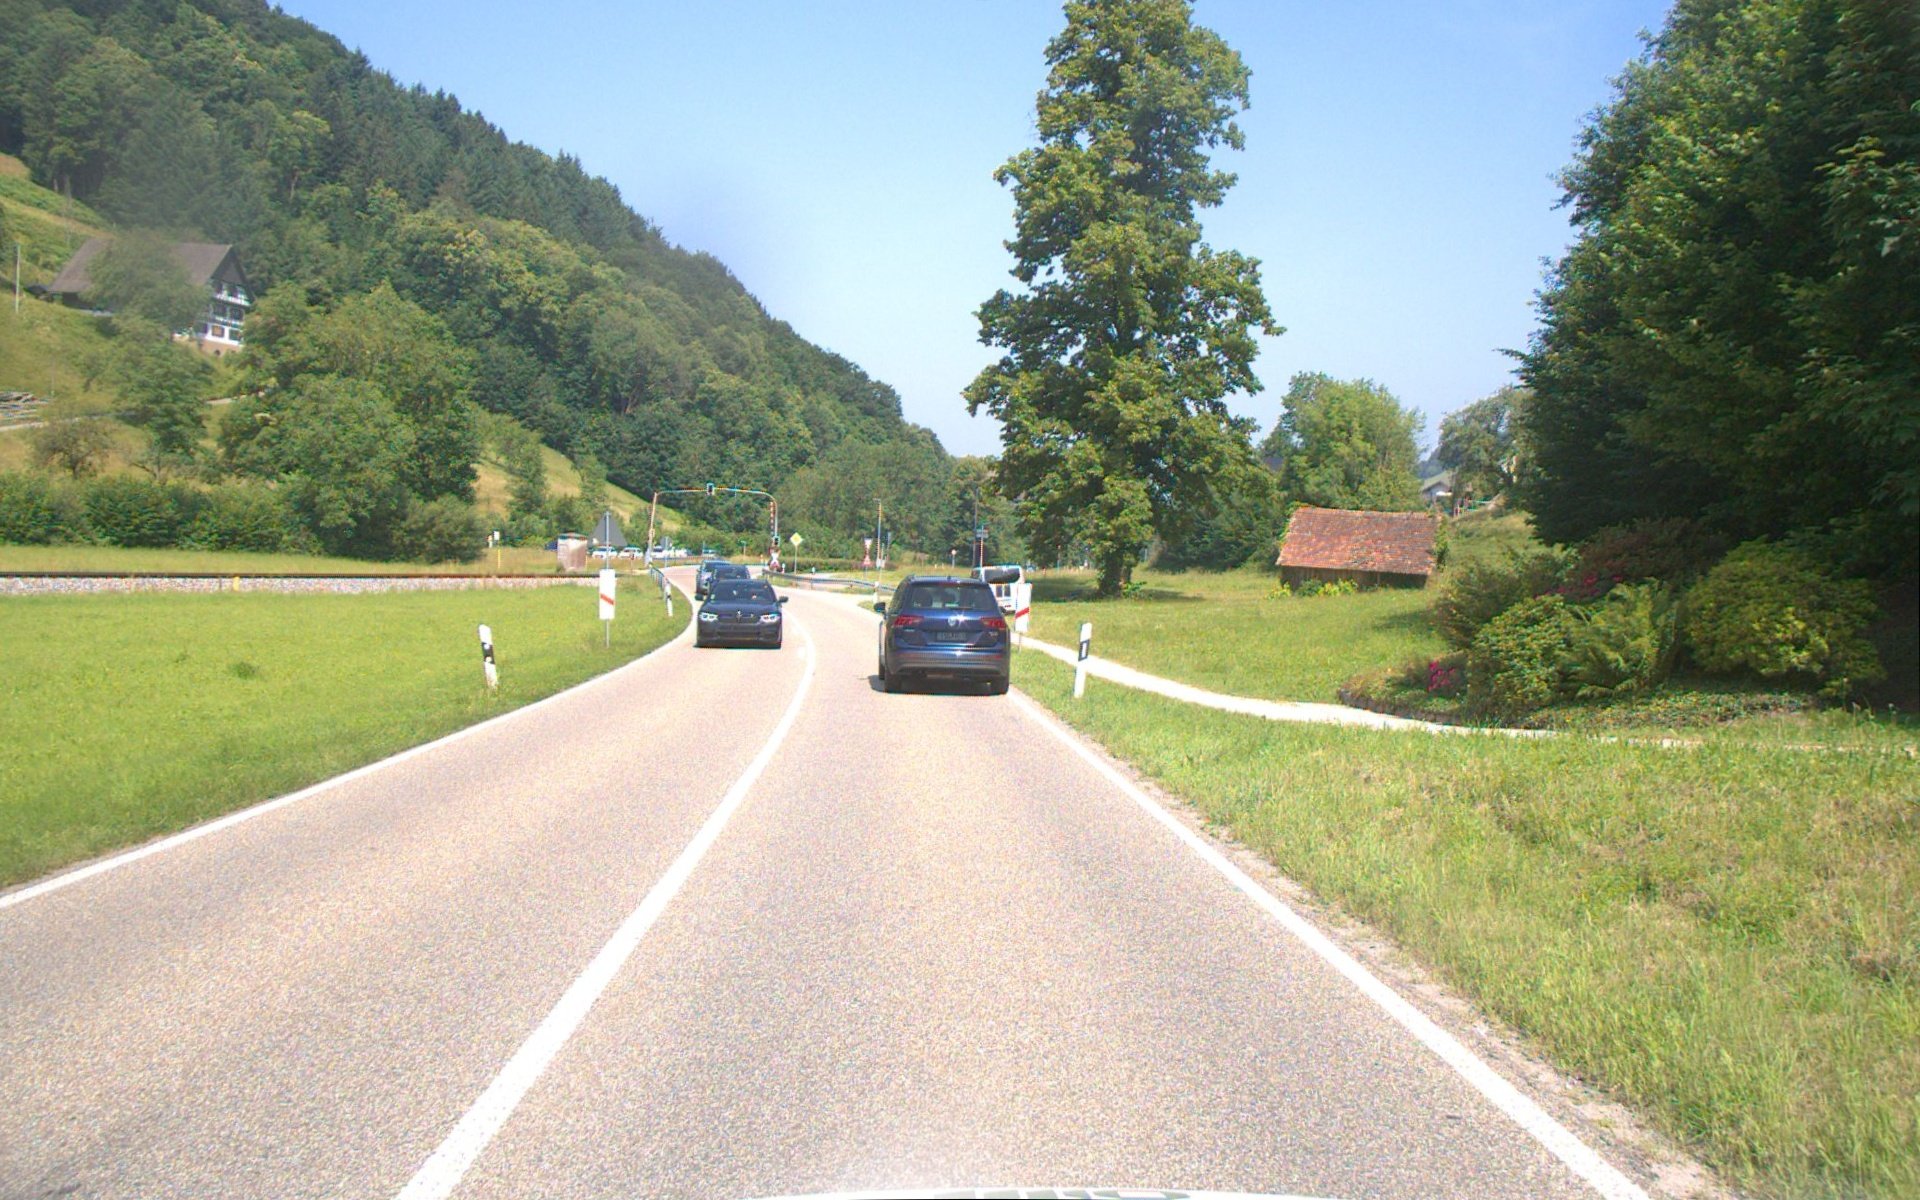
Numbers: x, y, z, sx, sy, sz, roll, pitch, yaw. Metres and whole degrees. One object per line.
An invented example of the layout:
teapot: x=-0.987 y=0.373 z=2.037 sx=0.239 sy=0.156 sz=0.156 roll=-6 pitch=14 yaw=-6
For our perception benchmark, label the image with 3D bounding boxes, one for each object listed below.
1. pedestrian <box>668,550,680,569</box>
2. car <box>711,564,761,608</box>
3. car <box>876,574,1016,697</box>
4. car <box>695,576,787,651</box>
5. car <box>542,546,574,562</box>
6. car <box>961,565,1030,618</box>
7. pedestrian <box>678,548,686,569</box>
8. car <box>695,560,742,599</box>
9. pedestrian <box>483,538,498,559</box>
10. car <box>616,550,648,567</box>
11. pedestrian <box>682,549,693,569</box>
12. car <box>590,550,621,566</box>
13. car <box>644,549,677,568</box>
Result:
pedestrian: x=-27.639 y=-3.950 z=159.893 sx=0.754 sy=1.827 sz=0.792 roll=2 pitch=1 yaw=30
car: x=-8.965 y=-0.578 z=66.420 sx=1.830 sy=1.652 sz=4.505 roll=2 pitch=1 yaw=-6
car: x=-0.298 y=0.471 z=24.700 sx=1.816 sy=1.678 sz=4.136 roll=0 pitch=0 yaw=-4
car: x=-4.896 y=0.257 z=37.065 sx=1.880 sy=1.496 sz=4.503 roll=1 pitch=1 yaw=-7
car: x=-40.422 y=-4.575 z=166.395 sx=1.952 sy=1.526 sz=4.523 roll=2 pitch=1 yaw=1
car: x=1.351 y=-0.391 z=65.068 sx=1.961 sy=1.880 sz=4.862 roll=-3 pitch=2 yaw=-7
pedestrian: x=-26.798 y=-4.015 z=159.351 sx=0.647 sy=1.988 sz=0.532 roll=1 pitch=1 yaw=-7
car: x=-11.707 y=-1.020 z=79.902 sx=1.882 sy=1.744 sz=4.146 roll=1 pitch=1 yaw=-13
pedestrian: x=-45.712 y=-4.971 z=160.966 sx=1.102 sy=2.003 sz=0.862 roll=2 pitch=1 yaw=19
car: x=-32.900 y=-4.166 z=166.187 sx=1.952 sy=1.670 sz=4.904 roll=2 pitch=1 yaw=3
pedestrian: x=-26.384 y=-3.979 z=160.029 sx=0.636 sy=1.891 sz=0.768 roll=2 pitch=1 yaw=37
car: x=-35.535 y=-4.223 z=165.843 sx=1.952 sy=1.526 sz=4.523 roll=2 pitch=1 yaw=1
car: x=-30.118 y=-4.138 z=166.487 sx=1.831 sy=1.813 sz=4.776 roll=3 pitch=1 yaw=6
